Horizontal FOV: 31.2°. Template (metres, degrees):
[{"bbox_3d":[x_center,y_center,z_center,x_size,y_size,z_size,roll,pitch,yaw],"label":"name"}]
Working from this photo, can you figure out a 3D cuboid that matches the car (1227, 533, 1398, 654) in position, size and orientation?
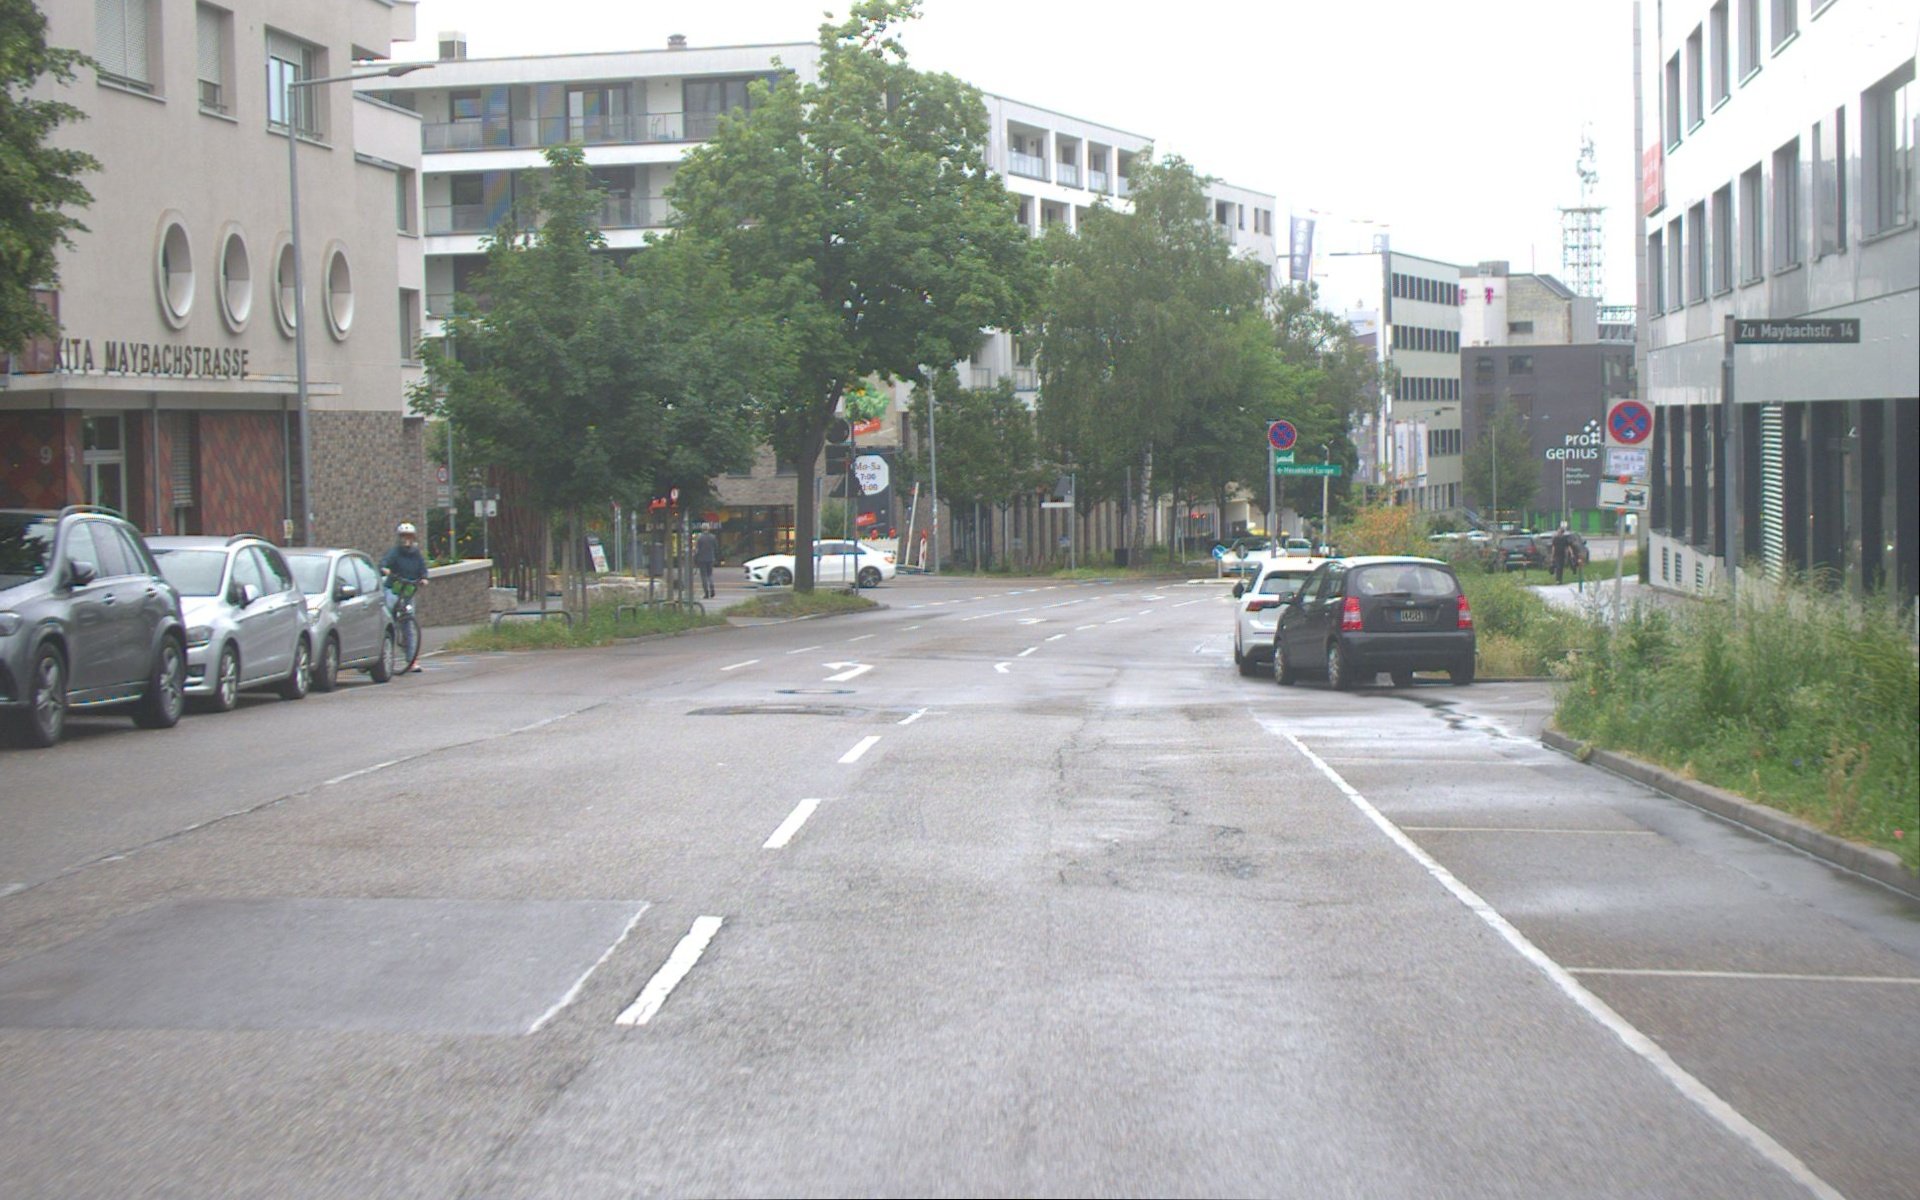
[{"bbox_3d":[4.524,-0.122,44.687,2.039,1.459,4.502,1,1,4],"label":"car"}]

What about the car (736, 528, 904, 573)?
[{"bbox_3d":[-4.203,-1.483,103.078,4.686,1.288,2.001,0,1,-17],"label":"car"}]

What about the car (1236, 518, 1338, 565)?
[{"bbox_3d":[11.876,-2.139,124.658,2.060,1.655,4.814,1,1,27],"label":"car"}]

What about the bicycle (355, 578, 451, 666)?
[{"bbox_3d":[-6.496,0.245,40.194,0.801,0.975,2.255,1,1,-1],"label":"bicycle"}]

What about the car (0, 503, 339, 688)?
[{"bbox_3d":[-7.318,-0.072,32.074,1.990,1.587,4.489,1,1,3],"label":"car"}]

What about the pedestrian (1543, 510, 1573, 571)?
[{"bbox_3d":[17.613,-1.742,101.230,0.823,1.790,1.207,0,0,11],"label":"pedestrian"}]

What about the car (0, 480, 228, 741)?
[{"bbox_3d":[-7.337,0.028,26.178,1.994,1.780,5.410,1,1,4],"label":"car"}]

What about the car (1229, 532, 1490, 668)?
[{"bbox_3d":[4.540,-0.037,39.679,2.044,1.453,4.056,1,1,-8],"label":"car"}]

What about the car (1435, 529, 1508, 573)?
[{"bbox_3d":[17.717,-1.690,118.945,1.809,1.479,4.491,1,1,17],"label":"car"}]

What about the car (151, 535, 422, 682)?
[{"bbox_3d":[-7.083,0.056,36.541,1.879,1.458,3.847,1,1,4],"label":"car"}]

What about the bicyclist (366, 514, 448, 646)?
[{"bbox_3d":[-6.484,-0.244,40.352,0.801,1.517,1.202,1,1,-2],"label":"bicyclist"}]

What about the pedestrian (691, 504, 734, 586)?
[{"bbox_3d":[-6.171,-1.371,85.770,1.055,2.007,1.100,1,1,-4],"label":"pedestrian"}]
